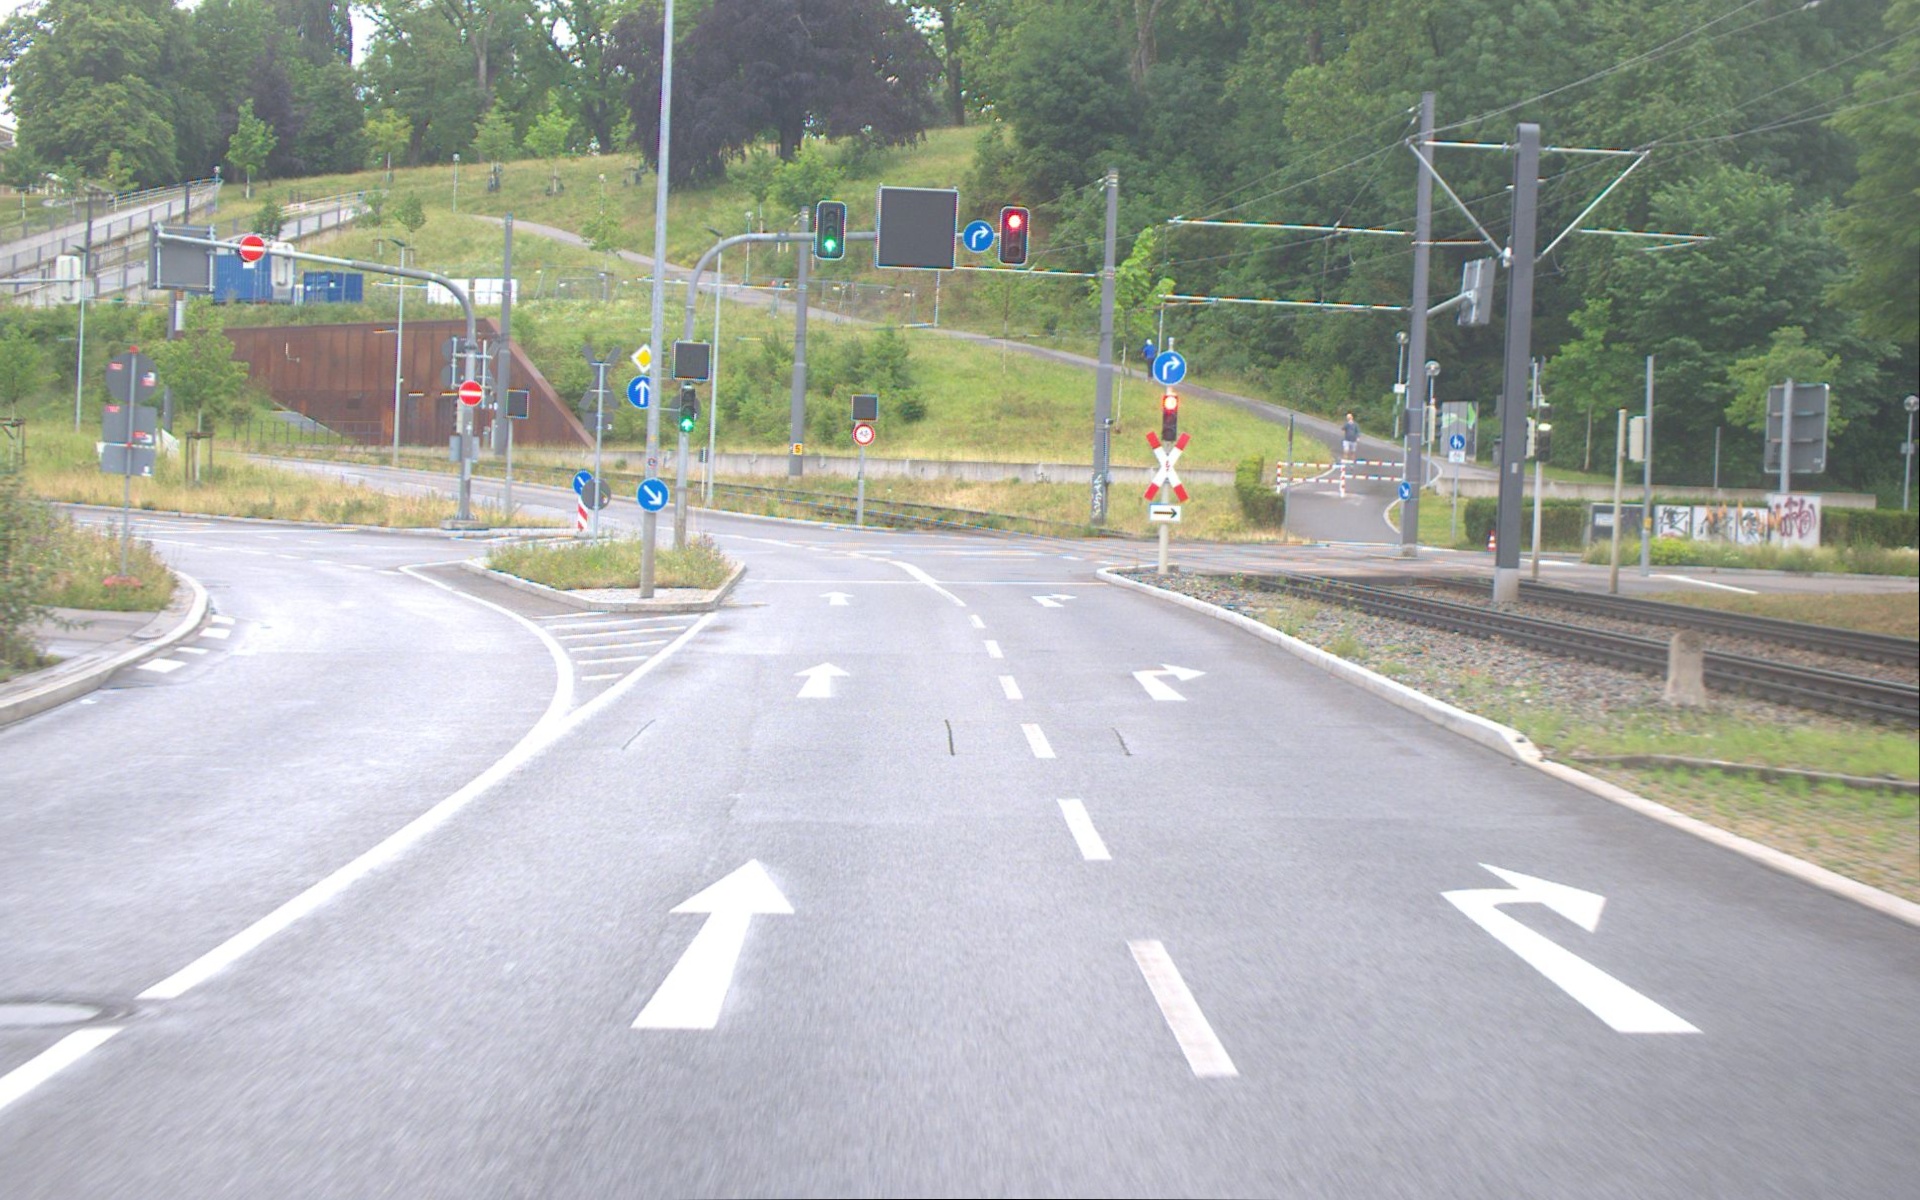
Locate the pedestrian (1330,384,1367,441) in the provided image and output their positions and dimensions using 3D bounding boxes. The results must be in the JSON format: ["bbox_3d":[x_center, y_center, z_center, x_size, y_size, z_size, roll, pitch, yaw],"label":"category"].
[{"bbox_3d":[12.525,-6.042,110.887,0.958,1.775,1.122,5,3,11],"label":"pedestrian"}]

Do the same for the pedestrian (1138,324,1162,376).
[{"bbox_3d":[7.599,-9.996,137.481,0.788,2.006,0.657,-2,8,-16],"label":"pedestrian"}]
